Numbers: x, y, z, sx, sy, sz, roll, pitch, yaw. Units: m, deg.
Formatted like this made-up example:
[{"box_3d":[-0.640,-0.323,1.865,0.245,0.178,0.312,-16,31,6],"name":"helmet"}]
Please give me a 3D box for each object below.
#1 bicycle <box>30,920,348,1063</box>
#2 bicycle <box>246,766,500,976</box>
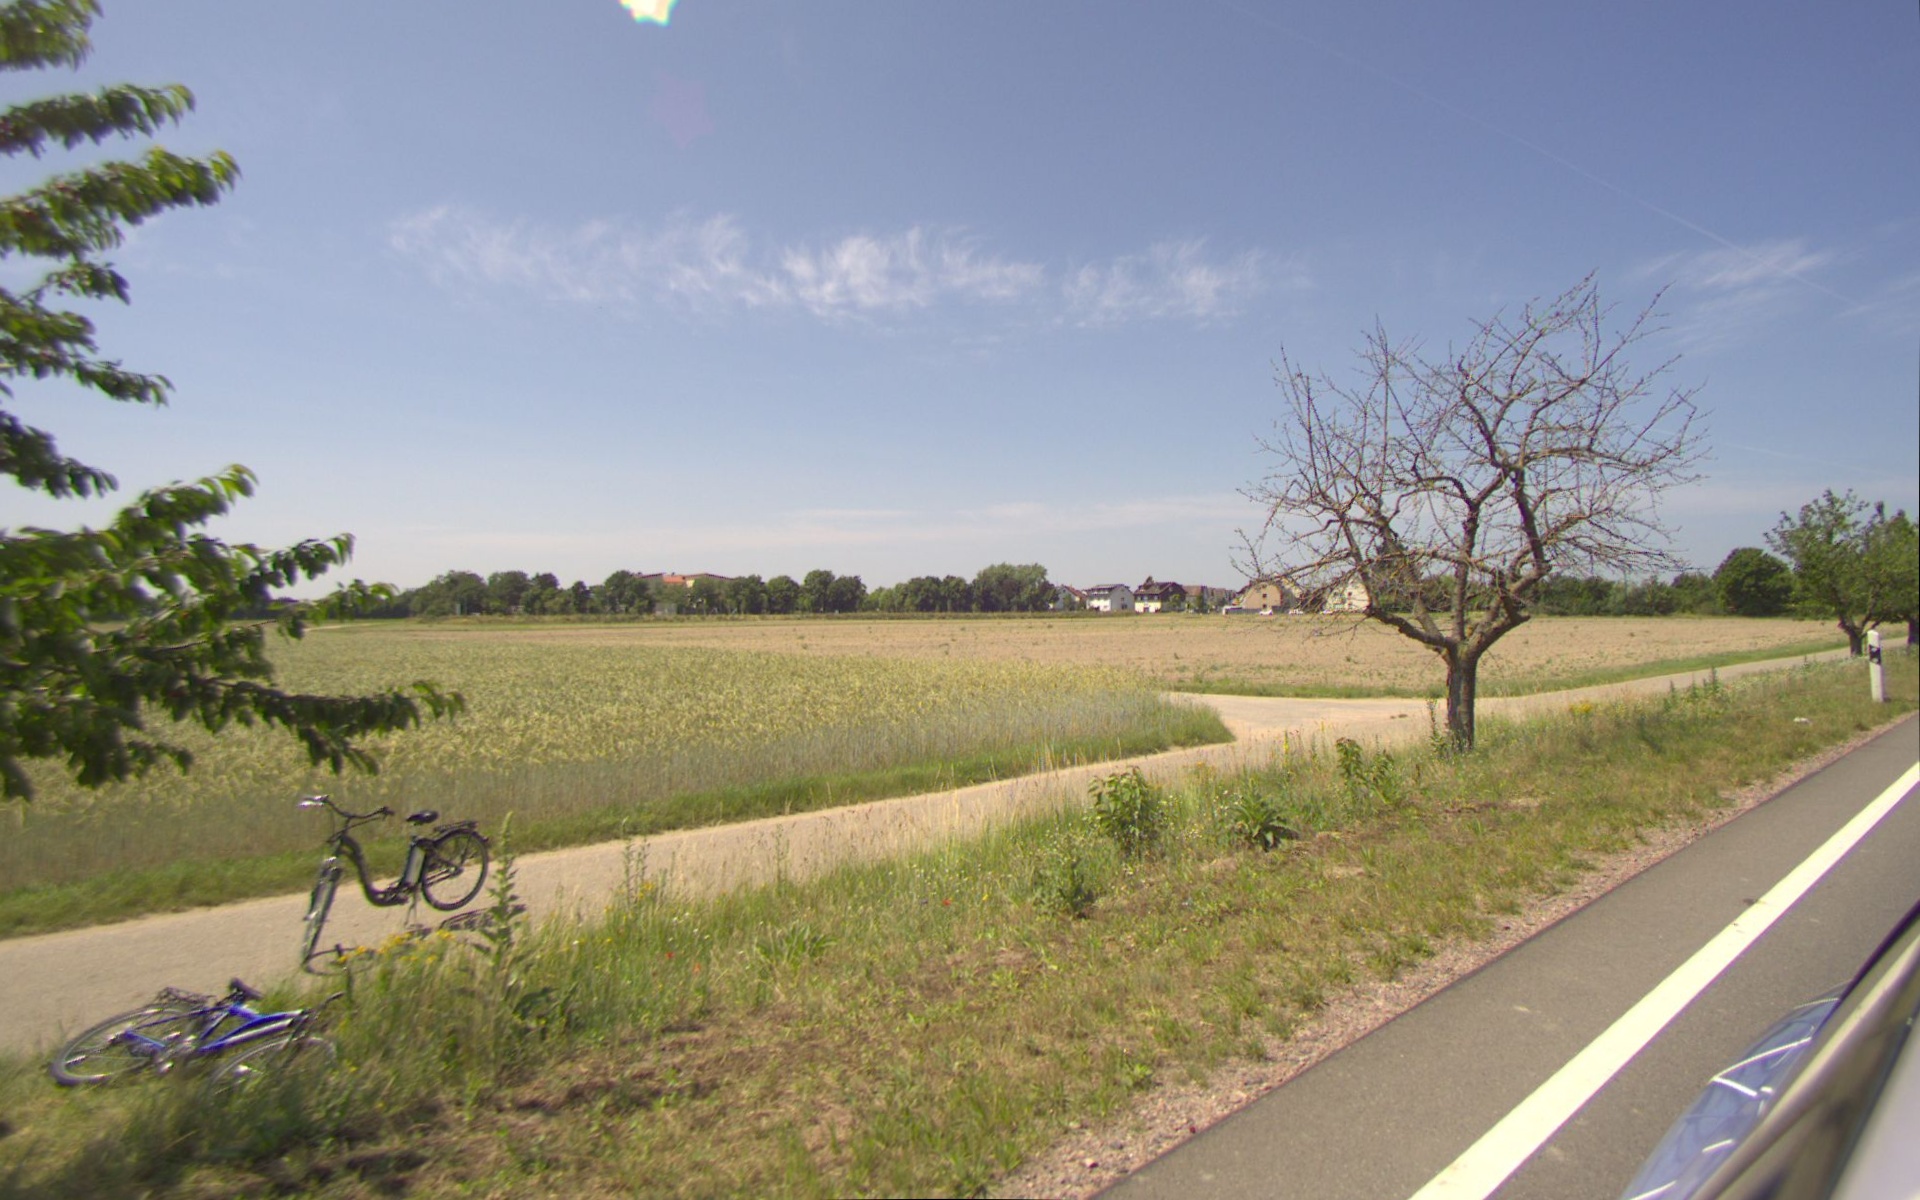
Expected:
[{"box_3d":[-4.431,2.219,5.865,1.218,0.285,1.008,0,0,23],"name":"bicycle"},{"box_3d":[-4.462,2.004,7.814,0.473,1.180,1.661,-1,-1,34],"name":"bicycle"}]
